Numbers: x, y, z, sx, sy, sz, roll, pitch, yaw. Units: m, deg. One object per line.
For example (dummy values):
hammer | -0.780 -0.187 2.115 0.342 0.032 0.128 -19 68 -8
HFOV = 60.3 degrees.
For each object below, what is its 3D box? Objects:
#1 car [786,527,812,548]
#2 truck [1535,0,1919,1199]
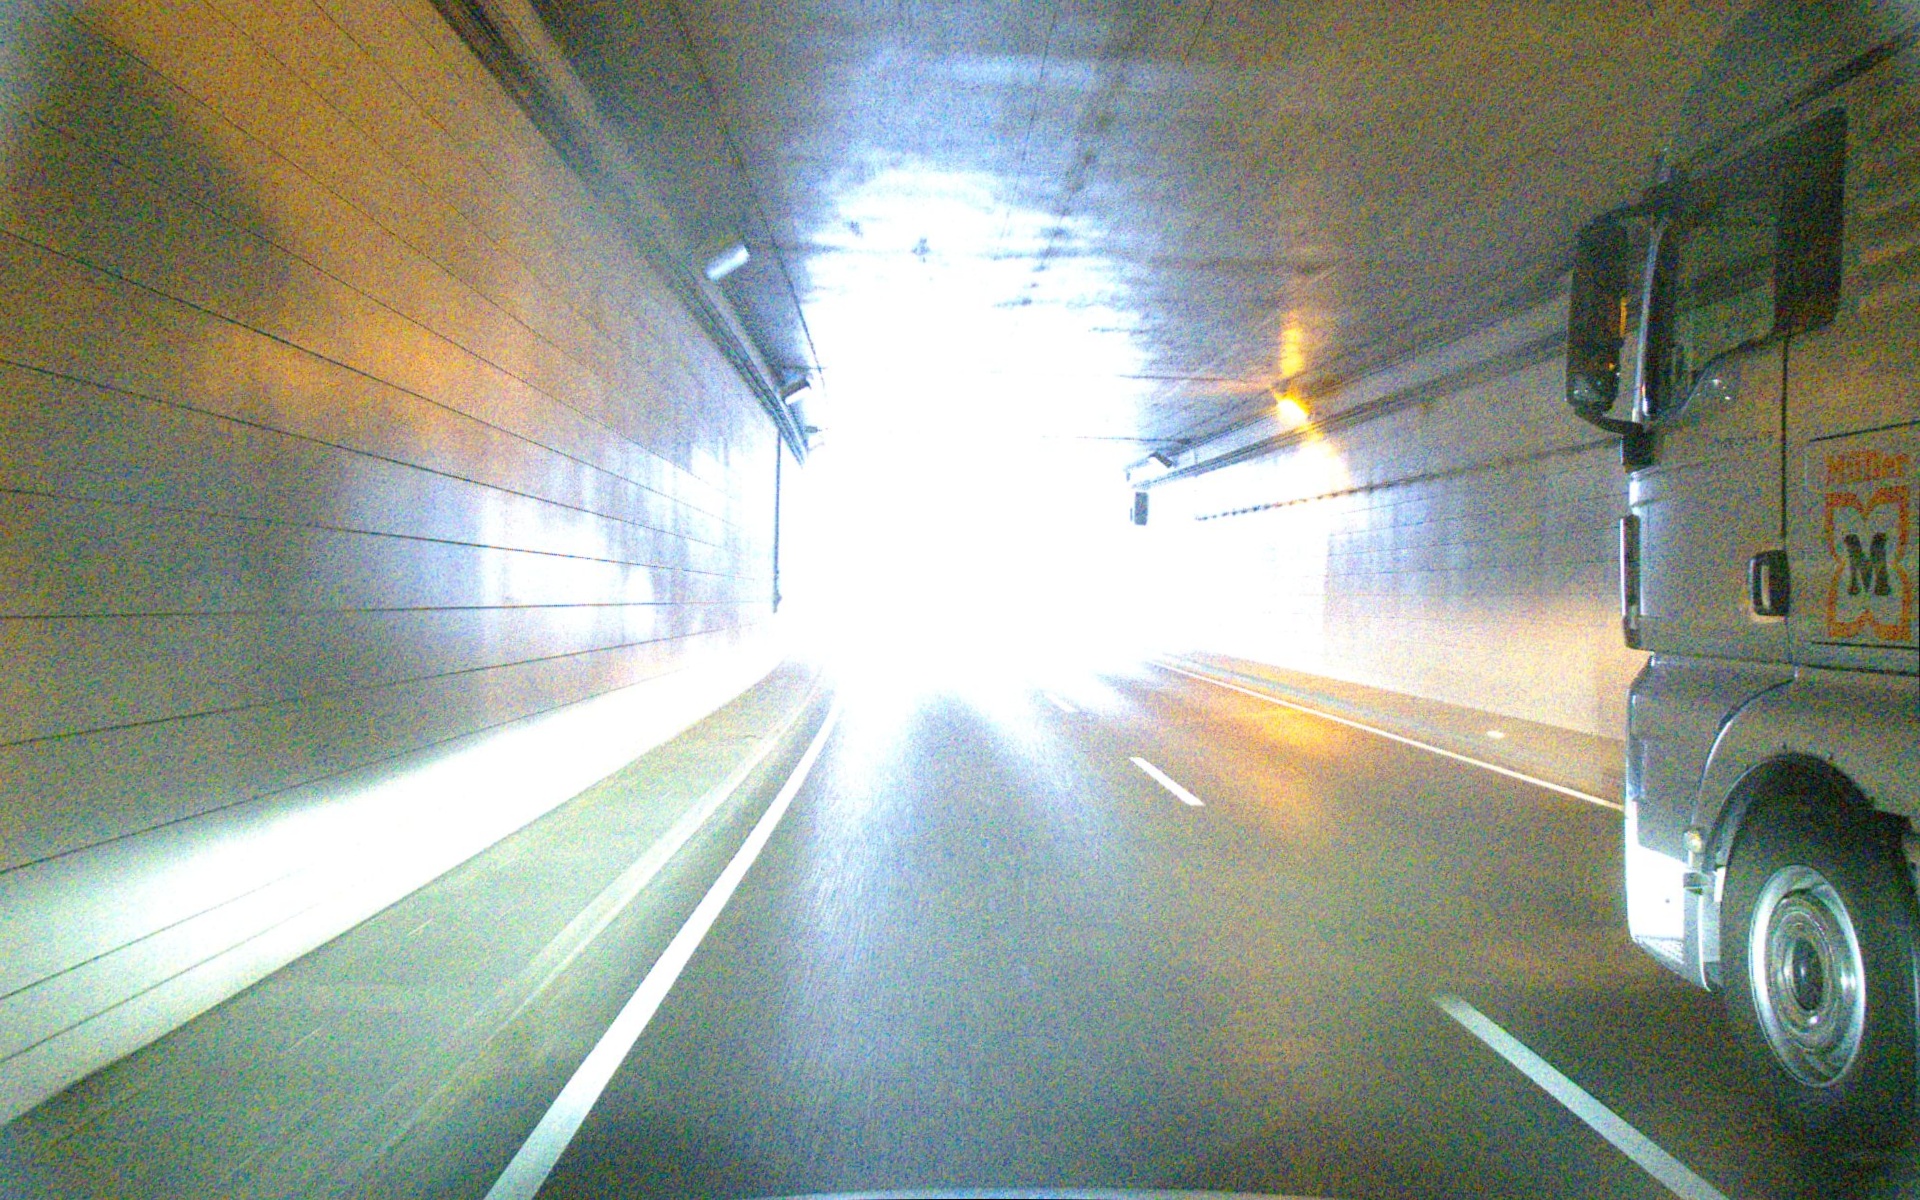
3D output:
car | -15.013 -5.829 154.116 1.837 1.763 3.986 1 0 -13
truck | 3.687 -0.578 1.079 2.831 3.982 9.905 1 1 -2
